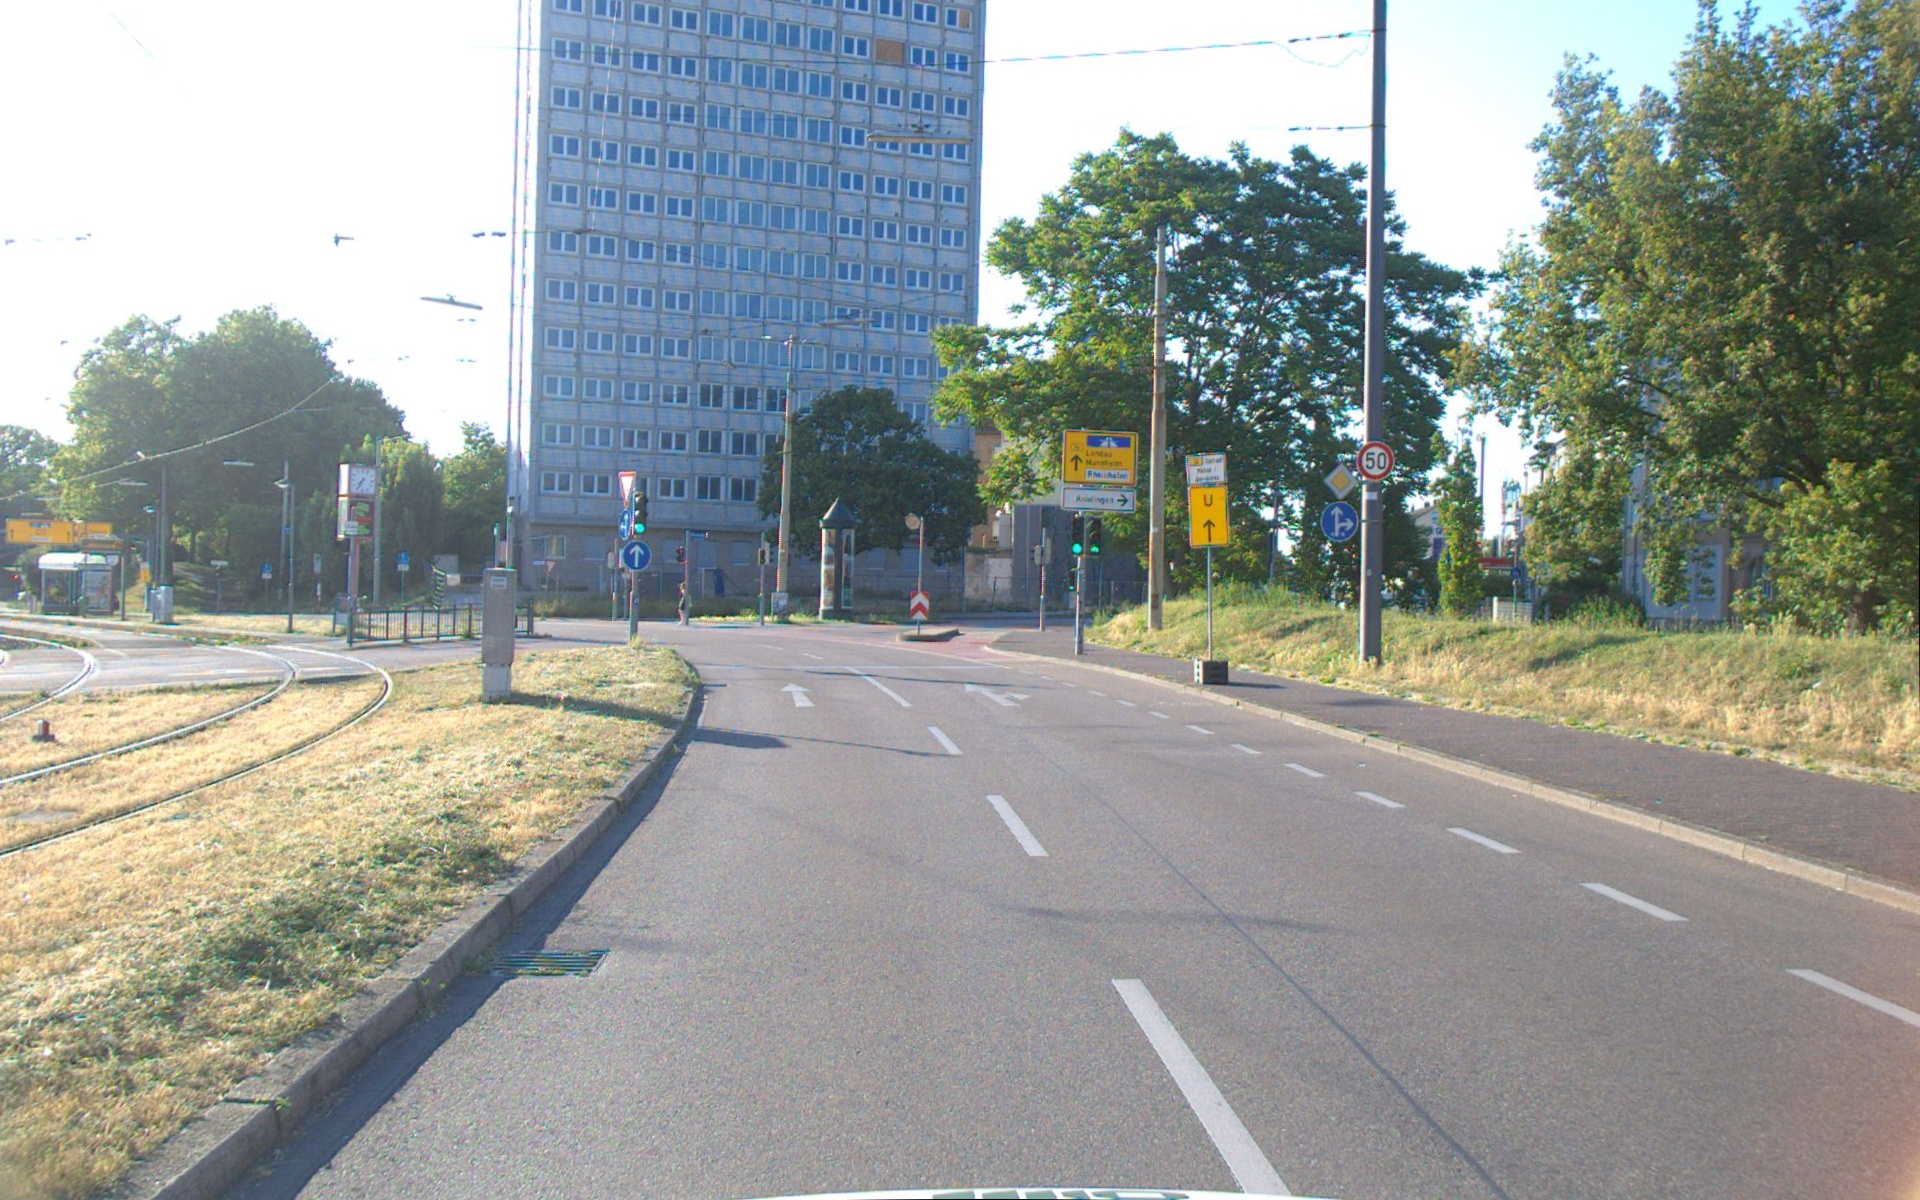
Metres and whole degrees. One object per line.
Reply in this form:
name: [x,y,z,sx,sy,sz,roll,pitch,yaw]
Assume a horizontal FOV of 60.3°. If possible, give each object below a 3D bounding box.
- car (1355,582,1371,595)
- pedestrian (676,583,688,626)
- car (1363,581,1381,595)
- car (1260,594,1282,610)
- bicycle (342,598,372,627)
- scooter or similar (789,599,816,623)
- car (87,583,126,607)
car: [49.289,-1.417,202.311,1.819,1.570,4.003,0,0,15]
pedestrian: [-10.609,0.165,63.082,0.428,1.640,0.628,0,0,-10]
car: [46.885,-1.371,188.270,1.819,1.570,3.881,0,0,15]
car: [29.763,0.151,158.031,1.833,1.484,3.790,0,1,15]
bicycle: [-20.282,0.423,55.673,0.542,0.934,1.741,-1,1,-6]
scooter or similar: [-7.752,0.535,81.429,1.277,1.190,0.325,0,0,-19]
car: [-51.866,-0.301,100.439,1.755,1.447,3.813,1,0,-33]
